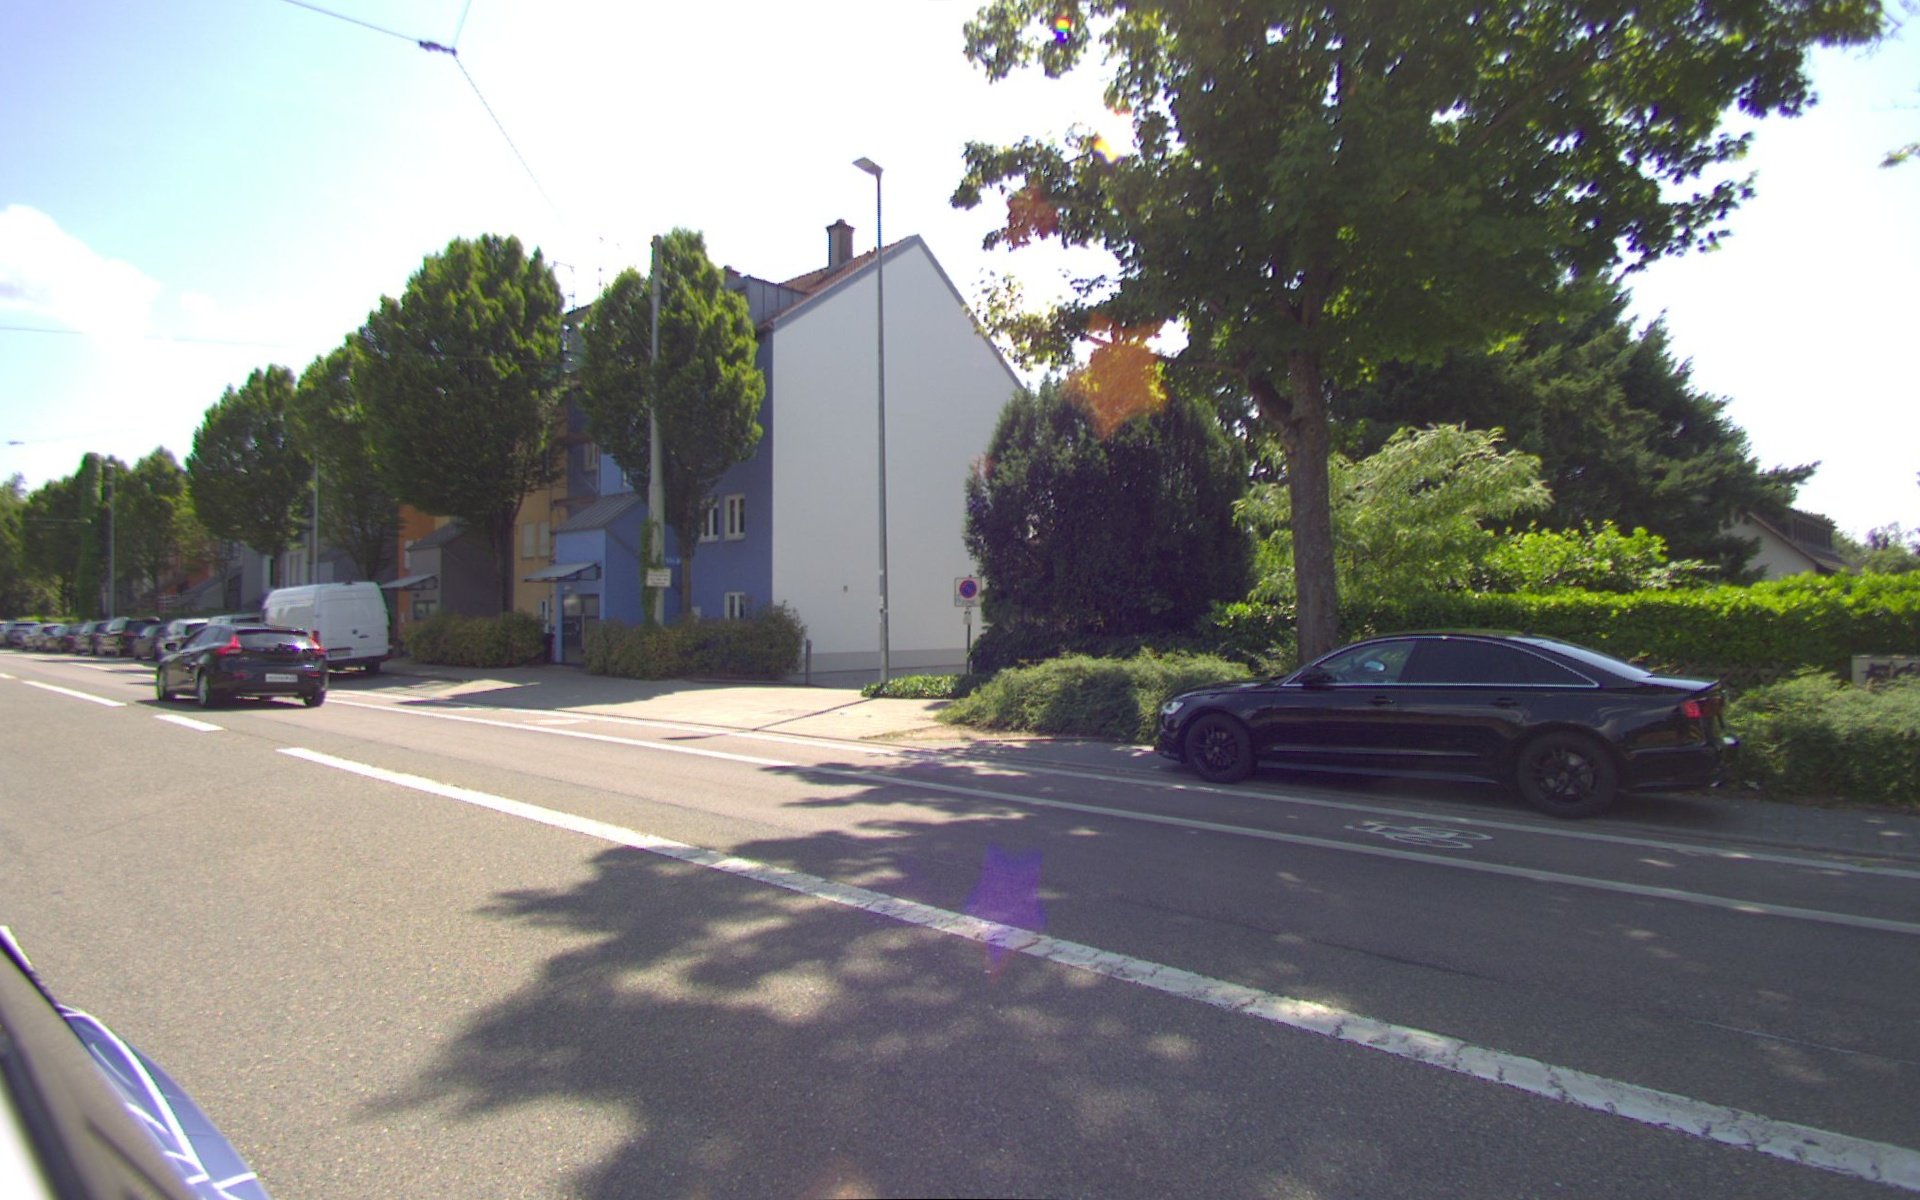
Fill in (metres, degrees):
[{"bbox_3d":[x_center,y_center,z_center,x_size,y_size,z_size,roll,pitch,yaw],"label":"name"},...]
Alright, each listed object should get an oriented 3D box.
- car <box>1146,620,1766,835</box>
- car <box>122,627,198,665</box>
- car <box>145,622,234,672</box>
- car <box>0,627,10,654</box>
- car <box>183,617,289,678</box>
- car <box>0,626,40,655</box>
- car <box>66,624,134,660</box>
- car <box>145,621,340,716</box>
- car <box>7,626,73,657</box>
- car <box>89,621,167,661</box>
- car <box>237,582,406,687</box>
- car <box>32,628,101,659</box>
[{"bbox_3d":[4.250,0.939,9.219,4.800,1.467,1.757,-1,-1,40],"label":"car"},{"bbox_3d":[-33.507,1.895,42.356,4.082,1.482,1.583,-1,-1,38],"label":"car"},{"bbox_3d":[-29.696,1.757,38.944,4.900,1.765,1.699,-1,-1,40],"label":"car"},{"bbox_3d":[-60.640,2.492,62.684,4.161,1.621,1.642,-1,-1,33],"label":"car"},{"bbox_3d":[-25.307,1.598,35.305,5.359,1.909,1.788,-1,1,41],"label":"car"},{"bbox_3d":[-55.932,2.372,59.599,4.677,1.621,1.641,-2,0,36],"label":"car"},{"bbox_3d":[-41.751,2.023,49.100,4.279,1.630,1.640,-1,-2,38],"label":"car"},{"bbox_3d":[-12.700,1.141,17.821,4.191,1.471,1.757,-1,-3,40],"label":"car"},{"bbox_3d":[-51.331,2.290,56.445,4.885,1.519,1.641,-1,2,35],"label":"car"},{"bbox_3d":[-37.600,1.850,45.695,4.881,1.729,1.734,-2,-2,38],"label":"car"},{"bbox_3d":[-19.106,0.982,30.093,7.033,2.670,2.299,-2,2,42],"label":"car"},{"bbox_3d":[-46.640,2.247,52.805,4.955,1.457,1.726,-1,0,37],"label":"car"}]
